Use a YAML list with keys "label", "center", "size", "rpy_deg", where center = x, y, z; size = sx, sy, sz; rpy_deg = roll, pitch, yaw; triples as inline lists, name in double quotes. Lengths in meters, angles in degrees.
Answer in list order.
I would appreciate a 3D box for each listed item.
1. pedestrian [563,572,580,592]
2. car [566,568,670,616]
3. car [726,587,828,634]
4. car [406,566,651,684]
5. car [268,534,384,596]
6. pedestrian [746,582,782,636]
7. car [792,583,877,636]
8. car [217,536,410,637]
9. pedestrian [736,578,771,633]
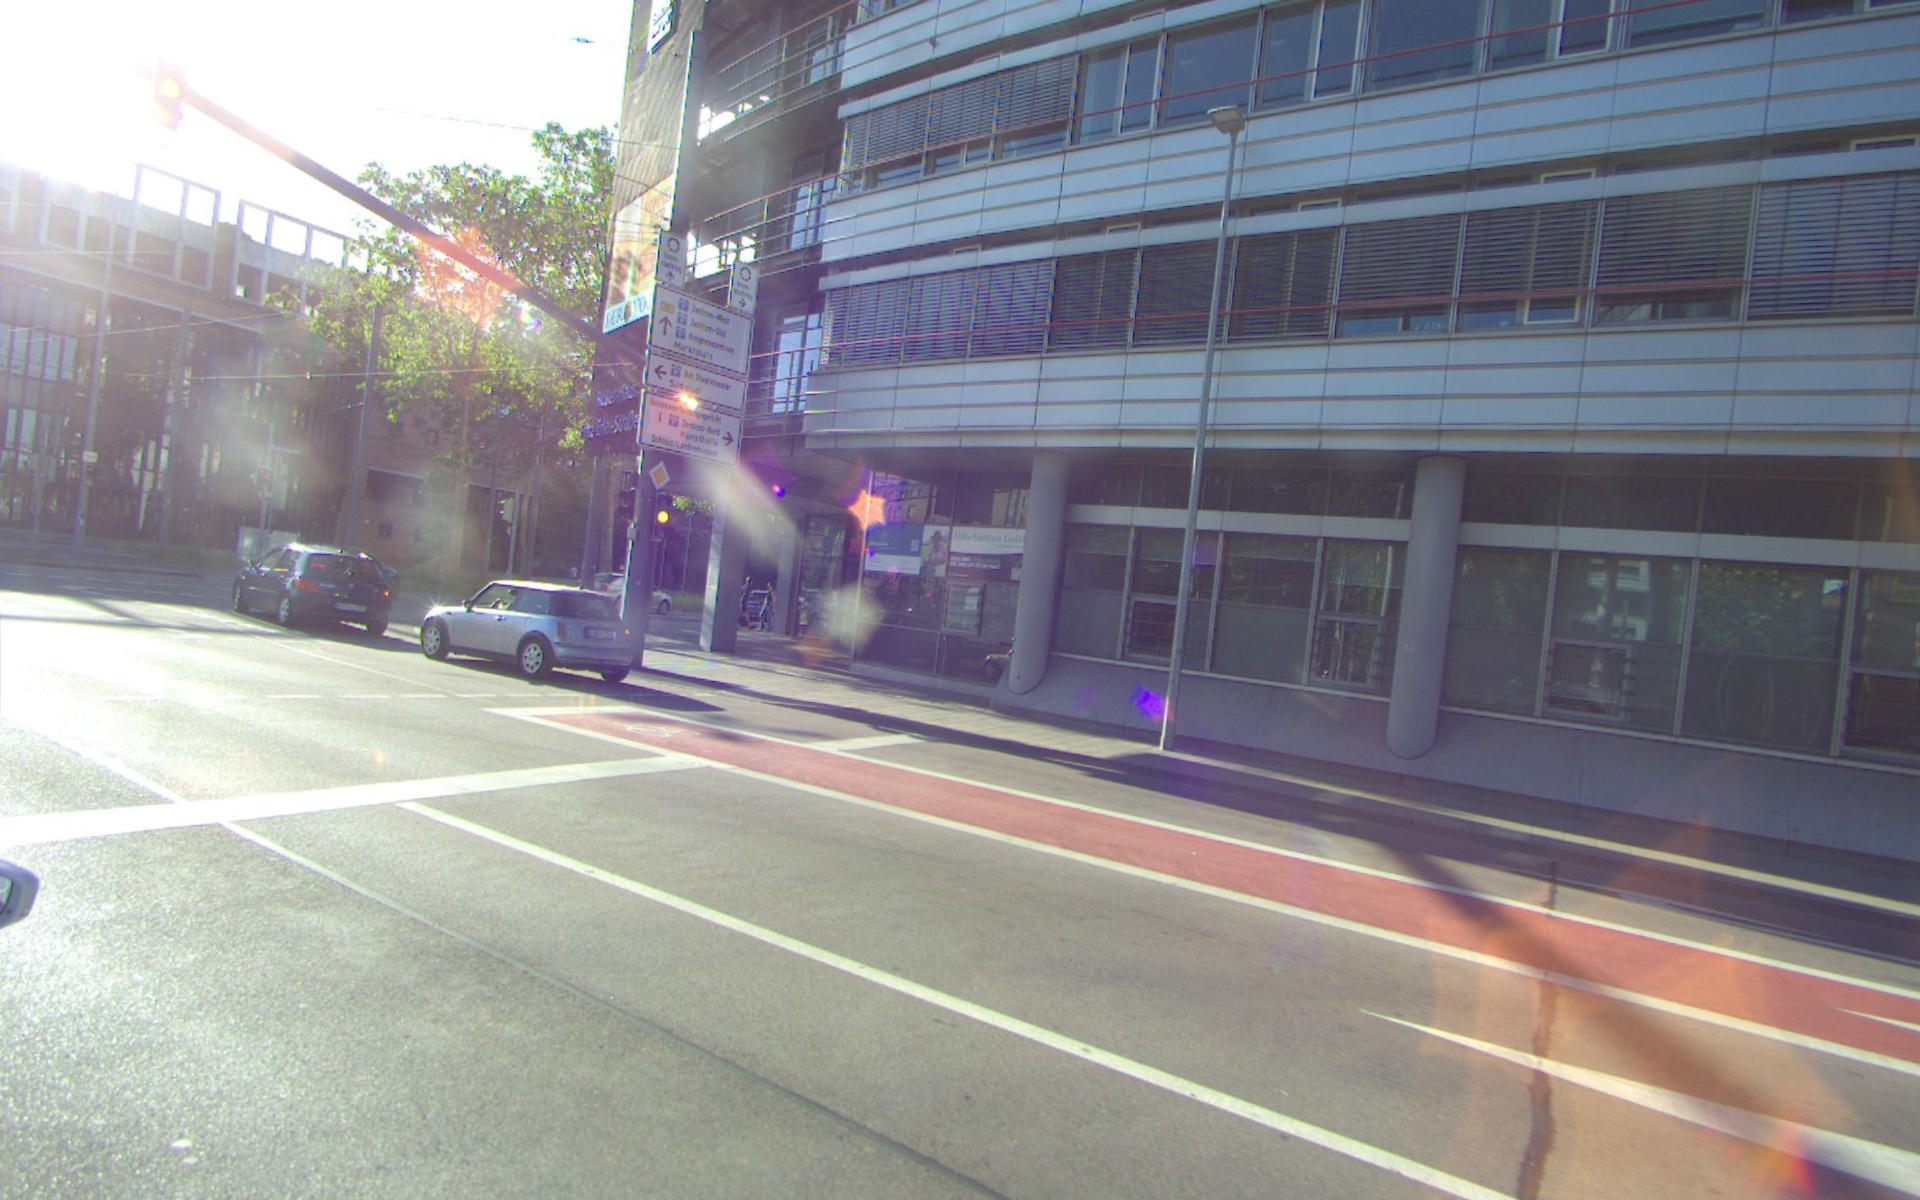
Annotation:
- label: "pedestrian"
  center: [-30.572, -1.422, 79.173]
  size: [0.797, 1.401, 0.687]
  rpy_deg: [7, 0, 23]
- label: "car"
  center: [-13.549, -0.263, 40.107]
  size: [1.669, 1.492, 3.982]
  rpy_deg: [7, -1, 21]
- label: "car"
  center: [-7.476, 0.468, 41.417]
  size: [1.837, 1.492, 3.968]
  rpy_deg: [6, -1, 33]
- label: "car"
  center: [-6.829, 0.390, 15.895]
  size: [3.476, 1.404, 1.665]
  rpy_deg: [6, -2, 29]
- label: "car"
  center: [-18.045, -0.933, 28.822]
  size: [1.675, 1.457, 4.006]
  rpy_deg: [7, -2, -17]
- label: "pedestrian"
  center: [-6.499, 0.305, 33.383]
  size: [0.649, 1.660, 0.792]
  rpy_deg: [7, 0, 28]
- label: "car"
  center: [-5.728, 0.476, 46.563]
  size: [1.833, 2.040, 4.458]
  rpy_deg: [7, -1, 21]
- label: "car"
  center: [-12.616, -0.277, 19.557]
  size: [3.918, 1.493, 1.861]
  rpy_deg: [6, -1, 38]
- label: "pedestrian"
  center: [-7.071, 0.192, 34.458]
  size: [0.578, 1.754, 0.790]
  rpy_deg: [6, -2, 40]
